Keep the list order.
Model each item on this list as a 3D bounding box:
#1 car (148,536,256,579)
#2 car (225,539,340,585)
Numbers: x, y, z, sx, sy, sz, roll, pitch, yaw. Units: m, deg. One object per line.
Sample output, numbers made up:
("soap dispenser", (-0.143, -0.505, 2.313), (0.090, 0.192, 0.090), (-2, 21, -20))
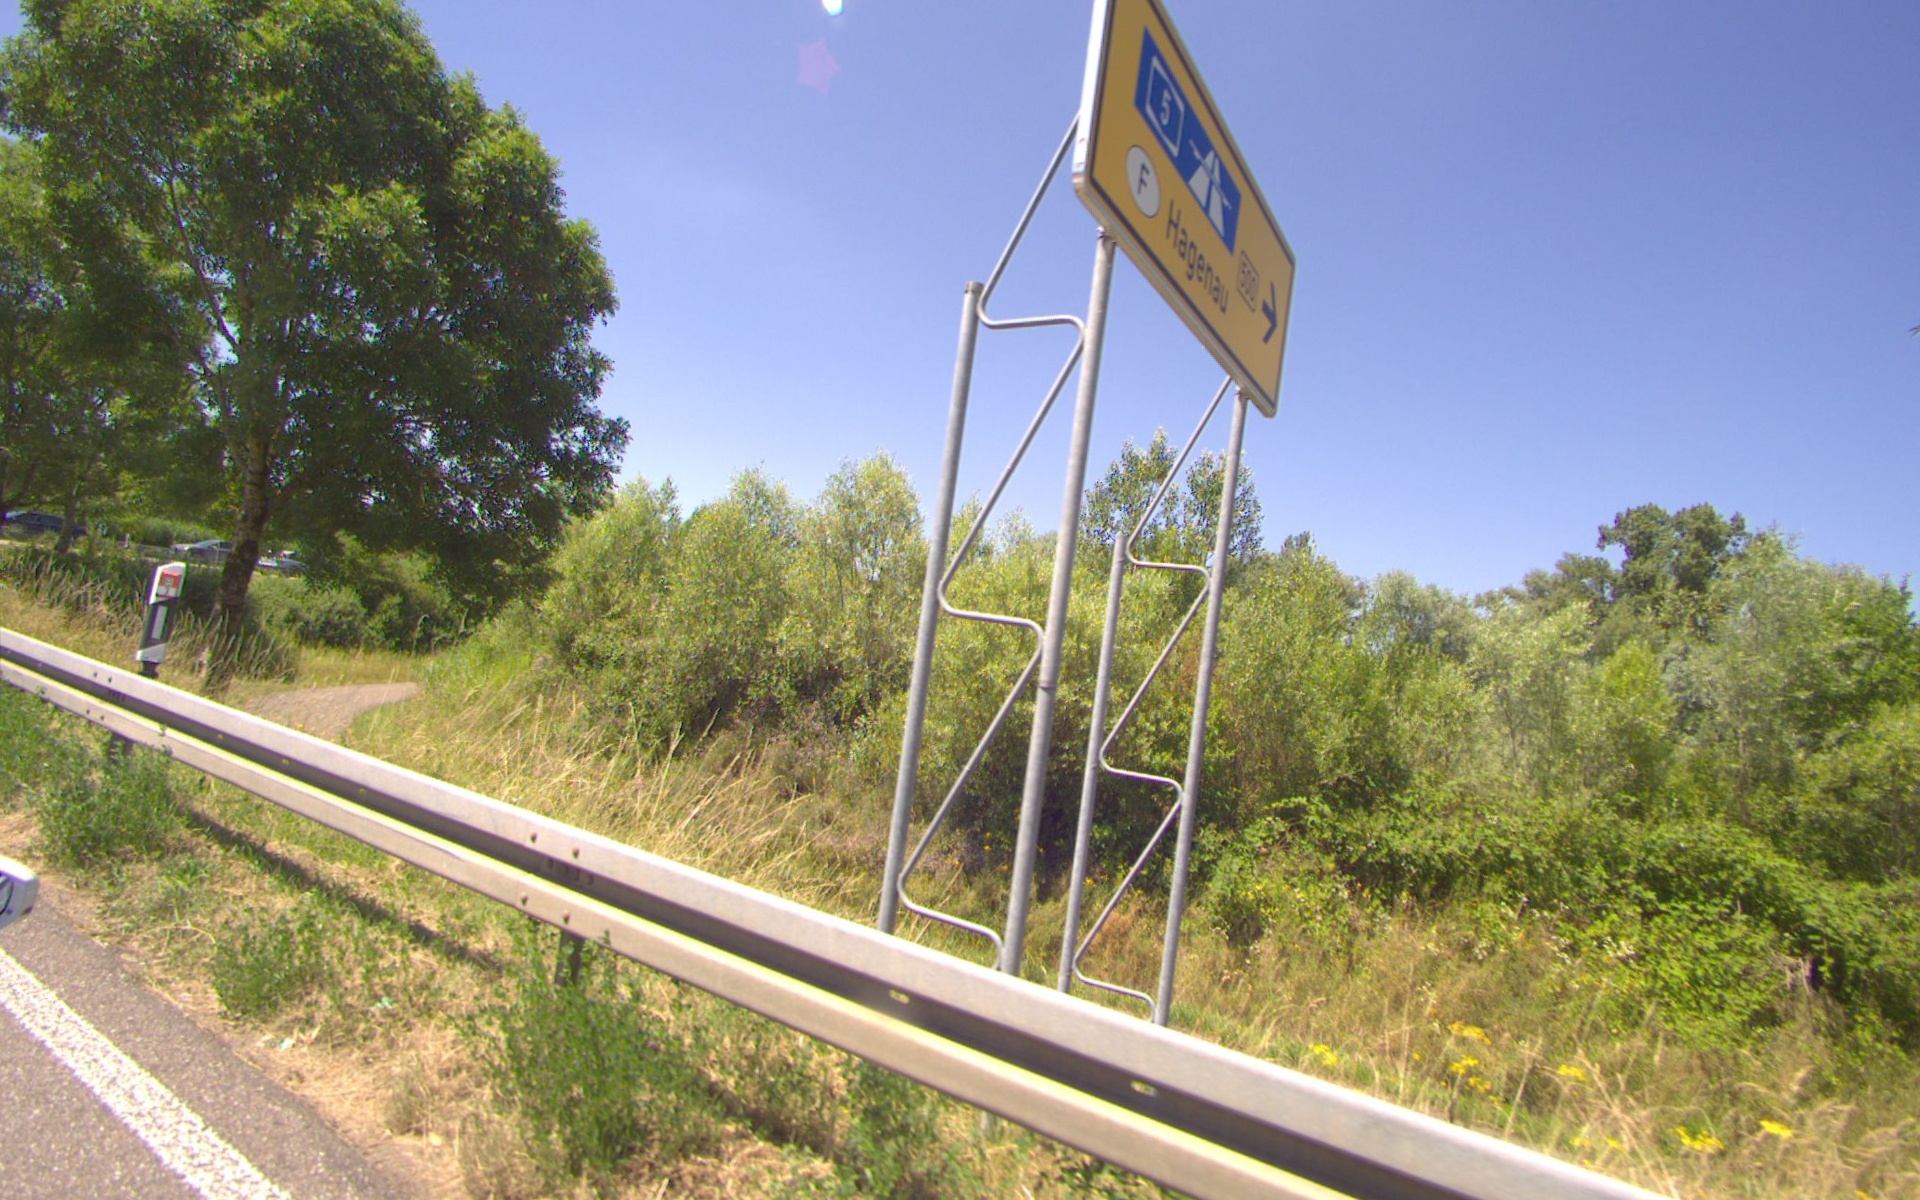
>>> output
("car", (-41.909, -2.335, 55.745), (1.900, 1.650, 4.238), (7, -3, 28))
("car", (-35.714, -1.964, 53.192), (1.898, 1.650, 4.667), (7, -3, 22))
